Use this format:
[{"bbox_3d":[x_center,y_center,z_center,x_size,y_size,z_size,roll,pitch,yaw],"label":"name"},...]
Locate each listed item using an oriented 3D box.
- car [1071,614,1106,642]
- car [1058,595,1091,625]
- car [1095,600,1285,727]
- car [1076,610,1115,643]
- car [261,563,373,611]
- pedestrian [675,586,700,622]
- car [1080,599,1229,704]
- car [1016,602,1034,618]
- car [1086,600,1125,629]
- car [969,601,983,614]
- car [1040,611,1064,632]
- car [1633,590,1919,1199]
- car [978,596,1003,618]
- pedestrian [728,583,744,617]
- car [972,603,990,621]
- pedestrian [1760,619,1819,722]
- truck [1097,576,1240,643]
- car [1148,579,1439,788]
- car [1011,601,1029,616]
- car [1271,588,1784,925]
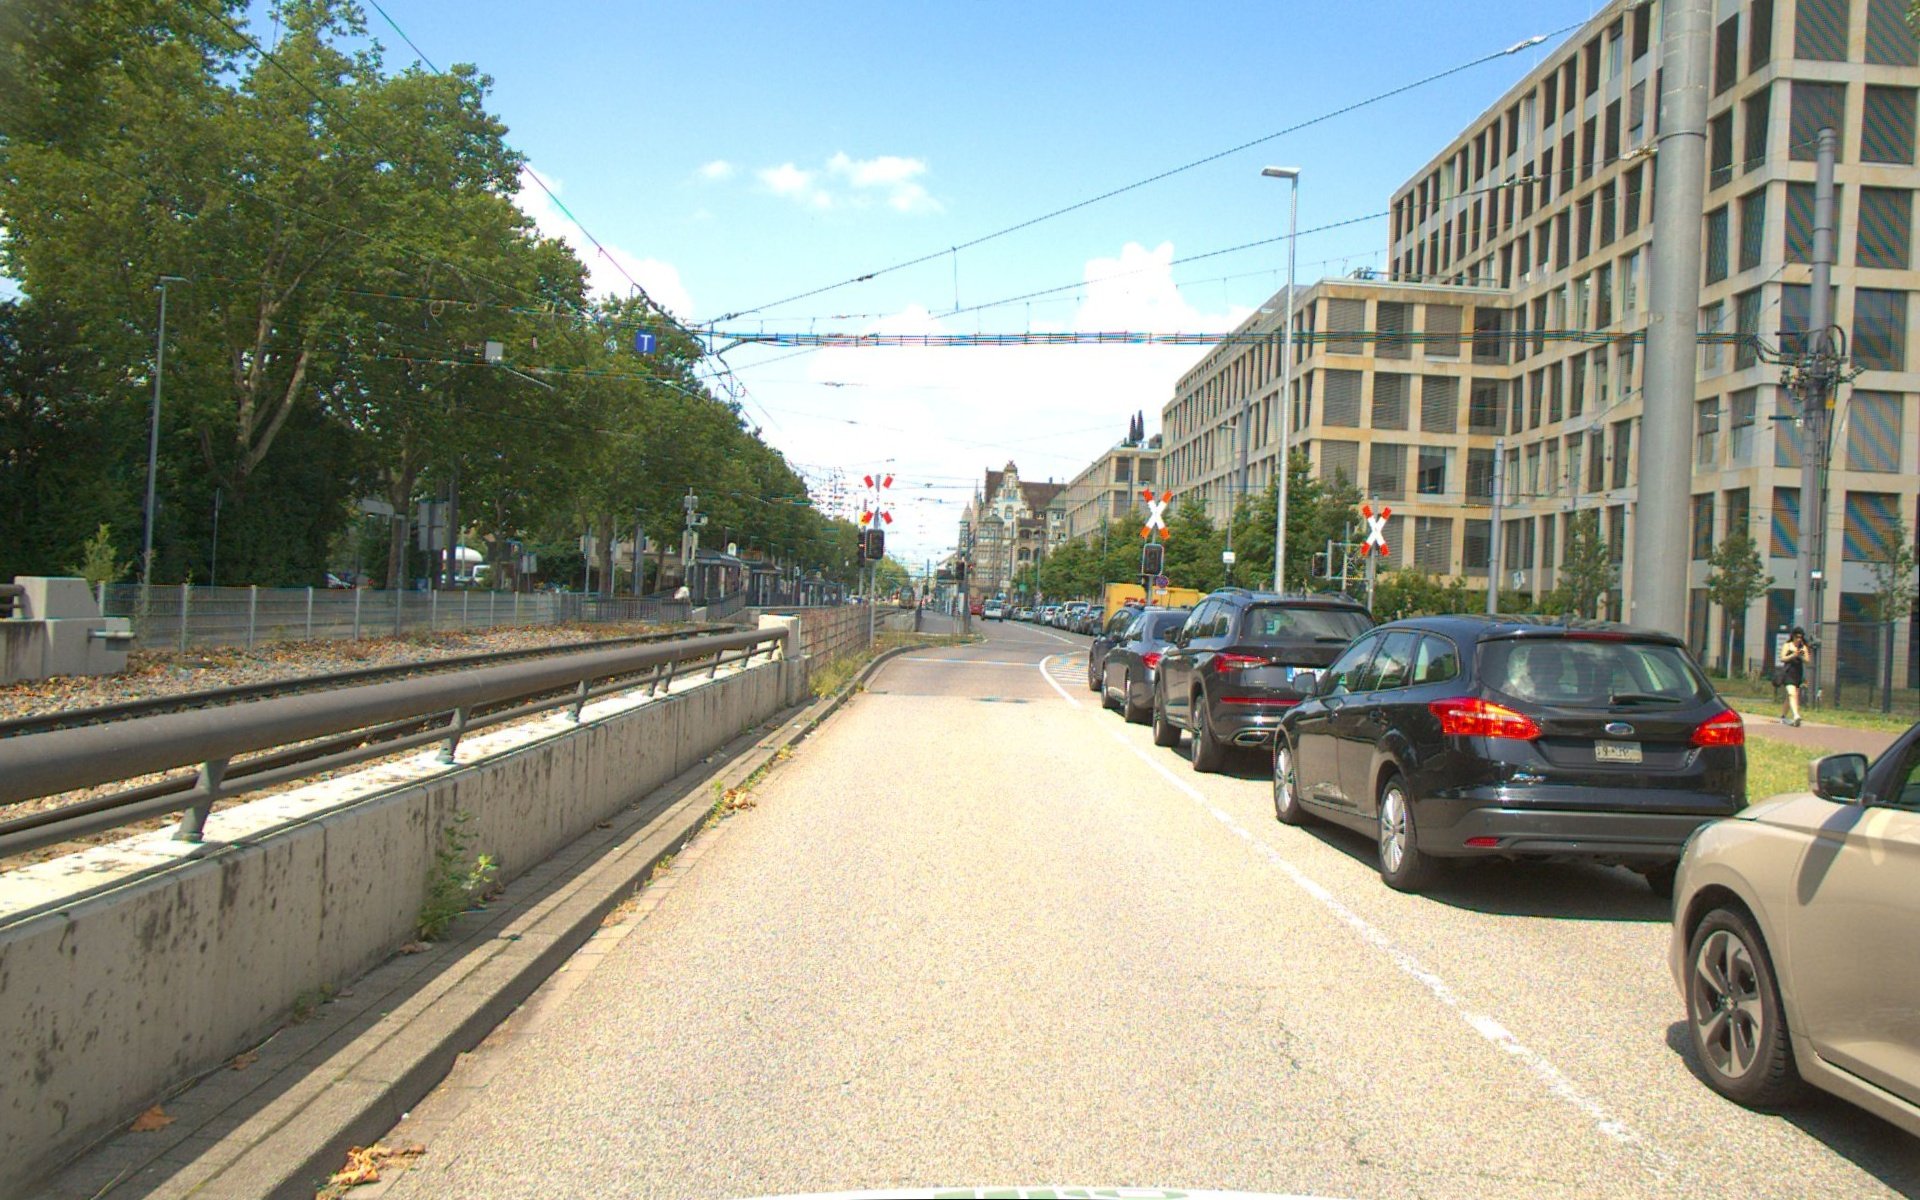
[{"bbox_3d":[8.001,1.723,103.149,1.686,1.648,3.859,3,-1,-1],"label":"car"},{"bbox_3d":[7.893,0.666,114.520,1.843,1.973,4.842,2,0,-1],"label":"car"},{"bbox_3d":[3.011,0.779,22.695,1.779,1.479,4.989,2,0,-1],"label":"car"},{"bbox_3d":[7.995,1.557,97.829,1.733,1.798,4.838,3,-1,-1],"label":"car"},{"bbox_3d":[-26.666,-0.526,68.706,3.909,1.780,1.802,3,0,-4],"label":"car"},{"bbox_3d":[-10.608,0.155,64.466,0.845,1.367,0.922,2,-1,-4],"label":"pedestrian"},{"bbox_3d":[3.169,0.801,27.746,1.743,1.567,4.418,2,0,-3],"label":"car"},{"bbox_3d":[6.634,1.054,168.084,1.559,1.485,3.612,5,0,0],"label":"car"},{"bbox_3d":[8.111,0.801,92.607,1.657,1.531,4.067,3,-1,-1],"label":"car"},{"bbox_3d":[1.827,0.914,192.857,1.414,1.496,4.090,1,0,-3],"label":"car"},{"bbox_3d":[7.528,1.725,135.381,1.651,1.634,4.150,2,0,-1],"label":"car"},{"bbox_3d":[3.240,0.769,4.041,1.635,1.541,3.850,2,-1,1],"label":"car"},{"bbox_3d":[2.649,0.618,142.628,1.831,1.777,3.998,4,-1,-2],"label":"car"},{"bbox_3d":[-12.390,0.012,91.498,0.692,1.877,0.864,2,-1,-2],"label":"pedestrian"},{"bbox_3d":[2.485,1.415,192.705,1.953,2.049,3.999,2,-1,-1],"label":"car"},{"bbox_3d":[13.522,1.144,26.975,0.610,1.636,0.624,2,-1,-4],"label":"pedestrian"},{"bbox_3d":[10.461,0.494,83.289,6.671,2.917,2.453,3,-1,-4],"label":"truck"},{"bbox_3d":[3.062,0.695,16.188,1.779,1.691,4.669,2,0,-1],"label":"car"},{"bbox_3d":[6.488,0.960,179.317,1.560,1.459,4.104,5,0,-3],"label":"car"},{"bbox_3d":[3.129,0.762,10.120,1.611,1.557,4.442,2,0,0],"label":"car"}]
